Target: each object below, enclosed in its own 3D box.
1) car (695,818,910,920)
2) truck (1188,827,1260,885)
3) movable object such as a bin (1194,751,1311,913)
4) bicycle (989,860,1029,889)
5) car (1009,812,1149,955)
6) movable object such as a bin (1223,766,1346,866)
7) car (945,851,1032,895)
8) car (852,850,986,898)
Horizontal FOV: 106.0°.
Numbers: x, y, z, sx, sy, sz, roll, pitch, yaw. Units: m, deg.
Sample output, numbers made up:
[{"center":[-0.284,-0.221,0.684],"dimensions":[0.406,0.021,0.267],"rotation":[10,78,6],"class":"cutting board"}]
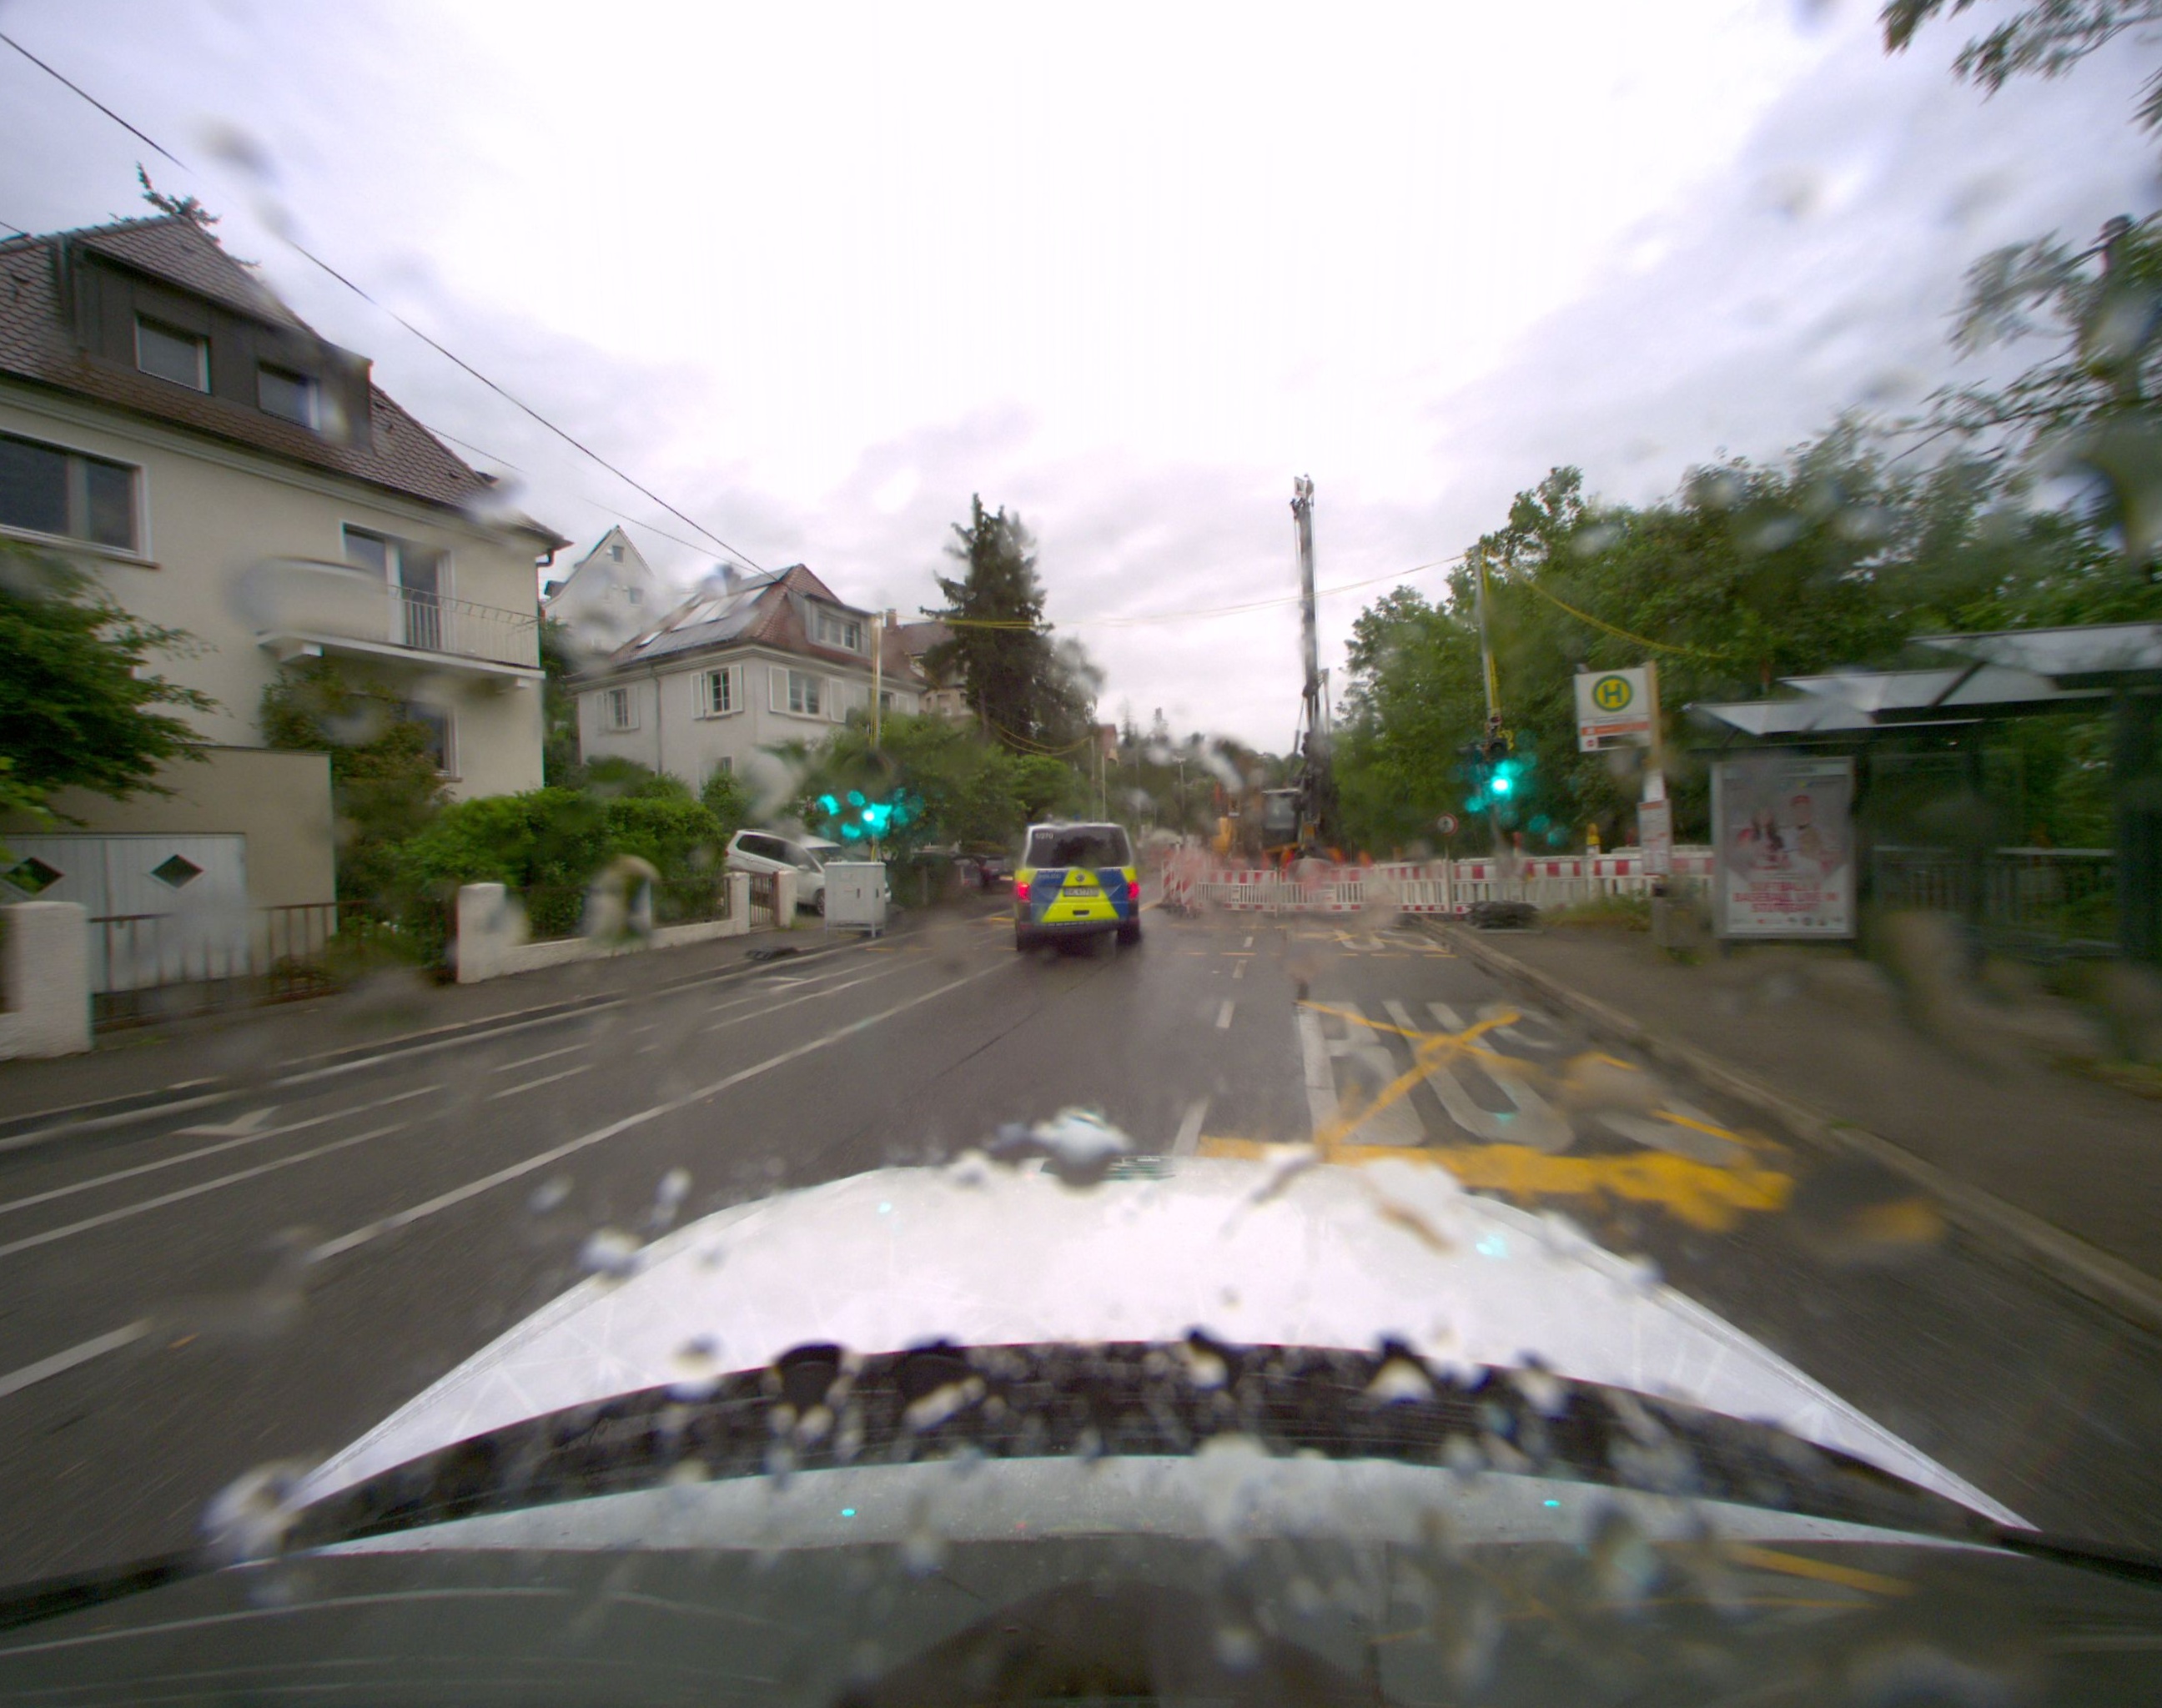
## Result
[{"center":[-6.928,0.285,20.170],"dimensions":[4.922,1.616,1.874],"rotation":[10,5,23],"class":"car"},{"center":[5.763,0.096,32.491],"dimensions":[2.533,2.108,3.315],"rotation":[-2,-1,13],"class":"truck"},{"center":[5.113,-0.579,23.685],"dimensions":[2.857,4.170,4.507],"rotation":[-2,0,16],"class":"movable object such as a bin"},{"center":[-2.855,0.794,32.336],"dimensions":[1.603,1.131,0.446],"rotation":[0,-1,26],"class":"bicycle"},{"center":[-0.208,0.440,13.769],"dimensions":[1.906,2.010,4.429],"rotation":[0,-1,-6],"class":"car"},{"center":[11.580,-1.983,45.887],"dimensions":[3.647,5.066,7.207],"rotation":[-3,-2,41],"class":"movable object such as a bin"},{"center":[-3.464,0.656,29.909],"dimensions":[1.792,1.525,3.962],"rotation":[0,0,-29],"class":"car"},{"center":[-5.382,0.648,27.188],"dimensions":[3.952,1.525,1.951],"rotation":[0,-1,22],"class":"car"}]
